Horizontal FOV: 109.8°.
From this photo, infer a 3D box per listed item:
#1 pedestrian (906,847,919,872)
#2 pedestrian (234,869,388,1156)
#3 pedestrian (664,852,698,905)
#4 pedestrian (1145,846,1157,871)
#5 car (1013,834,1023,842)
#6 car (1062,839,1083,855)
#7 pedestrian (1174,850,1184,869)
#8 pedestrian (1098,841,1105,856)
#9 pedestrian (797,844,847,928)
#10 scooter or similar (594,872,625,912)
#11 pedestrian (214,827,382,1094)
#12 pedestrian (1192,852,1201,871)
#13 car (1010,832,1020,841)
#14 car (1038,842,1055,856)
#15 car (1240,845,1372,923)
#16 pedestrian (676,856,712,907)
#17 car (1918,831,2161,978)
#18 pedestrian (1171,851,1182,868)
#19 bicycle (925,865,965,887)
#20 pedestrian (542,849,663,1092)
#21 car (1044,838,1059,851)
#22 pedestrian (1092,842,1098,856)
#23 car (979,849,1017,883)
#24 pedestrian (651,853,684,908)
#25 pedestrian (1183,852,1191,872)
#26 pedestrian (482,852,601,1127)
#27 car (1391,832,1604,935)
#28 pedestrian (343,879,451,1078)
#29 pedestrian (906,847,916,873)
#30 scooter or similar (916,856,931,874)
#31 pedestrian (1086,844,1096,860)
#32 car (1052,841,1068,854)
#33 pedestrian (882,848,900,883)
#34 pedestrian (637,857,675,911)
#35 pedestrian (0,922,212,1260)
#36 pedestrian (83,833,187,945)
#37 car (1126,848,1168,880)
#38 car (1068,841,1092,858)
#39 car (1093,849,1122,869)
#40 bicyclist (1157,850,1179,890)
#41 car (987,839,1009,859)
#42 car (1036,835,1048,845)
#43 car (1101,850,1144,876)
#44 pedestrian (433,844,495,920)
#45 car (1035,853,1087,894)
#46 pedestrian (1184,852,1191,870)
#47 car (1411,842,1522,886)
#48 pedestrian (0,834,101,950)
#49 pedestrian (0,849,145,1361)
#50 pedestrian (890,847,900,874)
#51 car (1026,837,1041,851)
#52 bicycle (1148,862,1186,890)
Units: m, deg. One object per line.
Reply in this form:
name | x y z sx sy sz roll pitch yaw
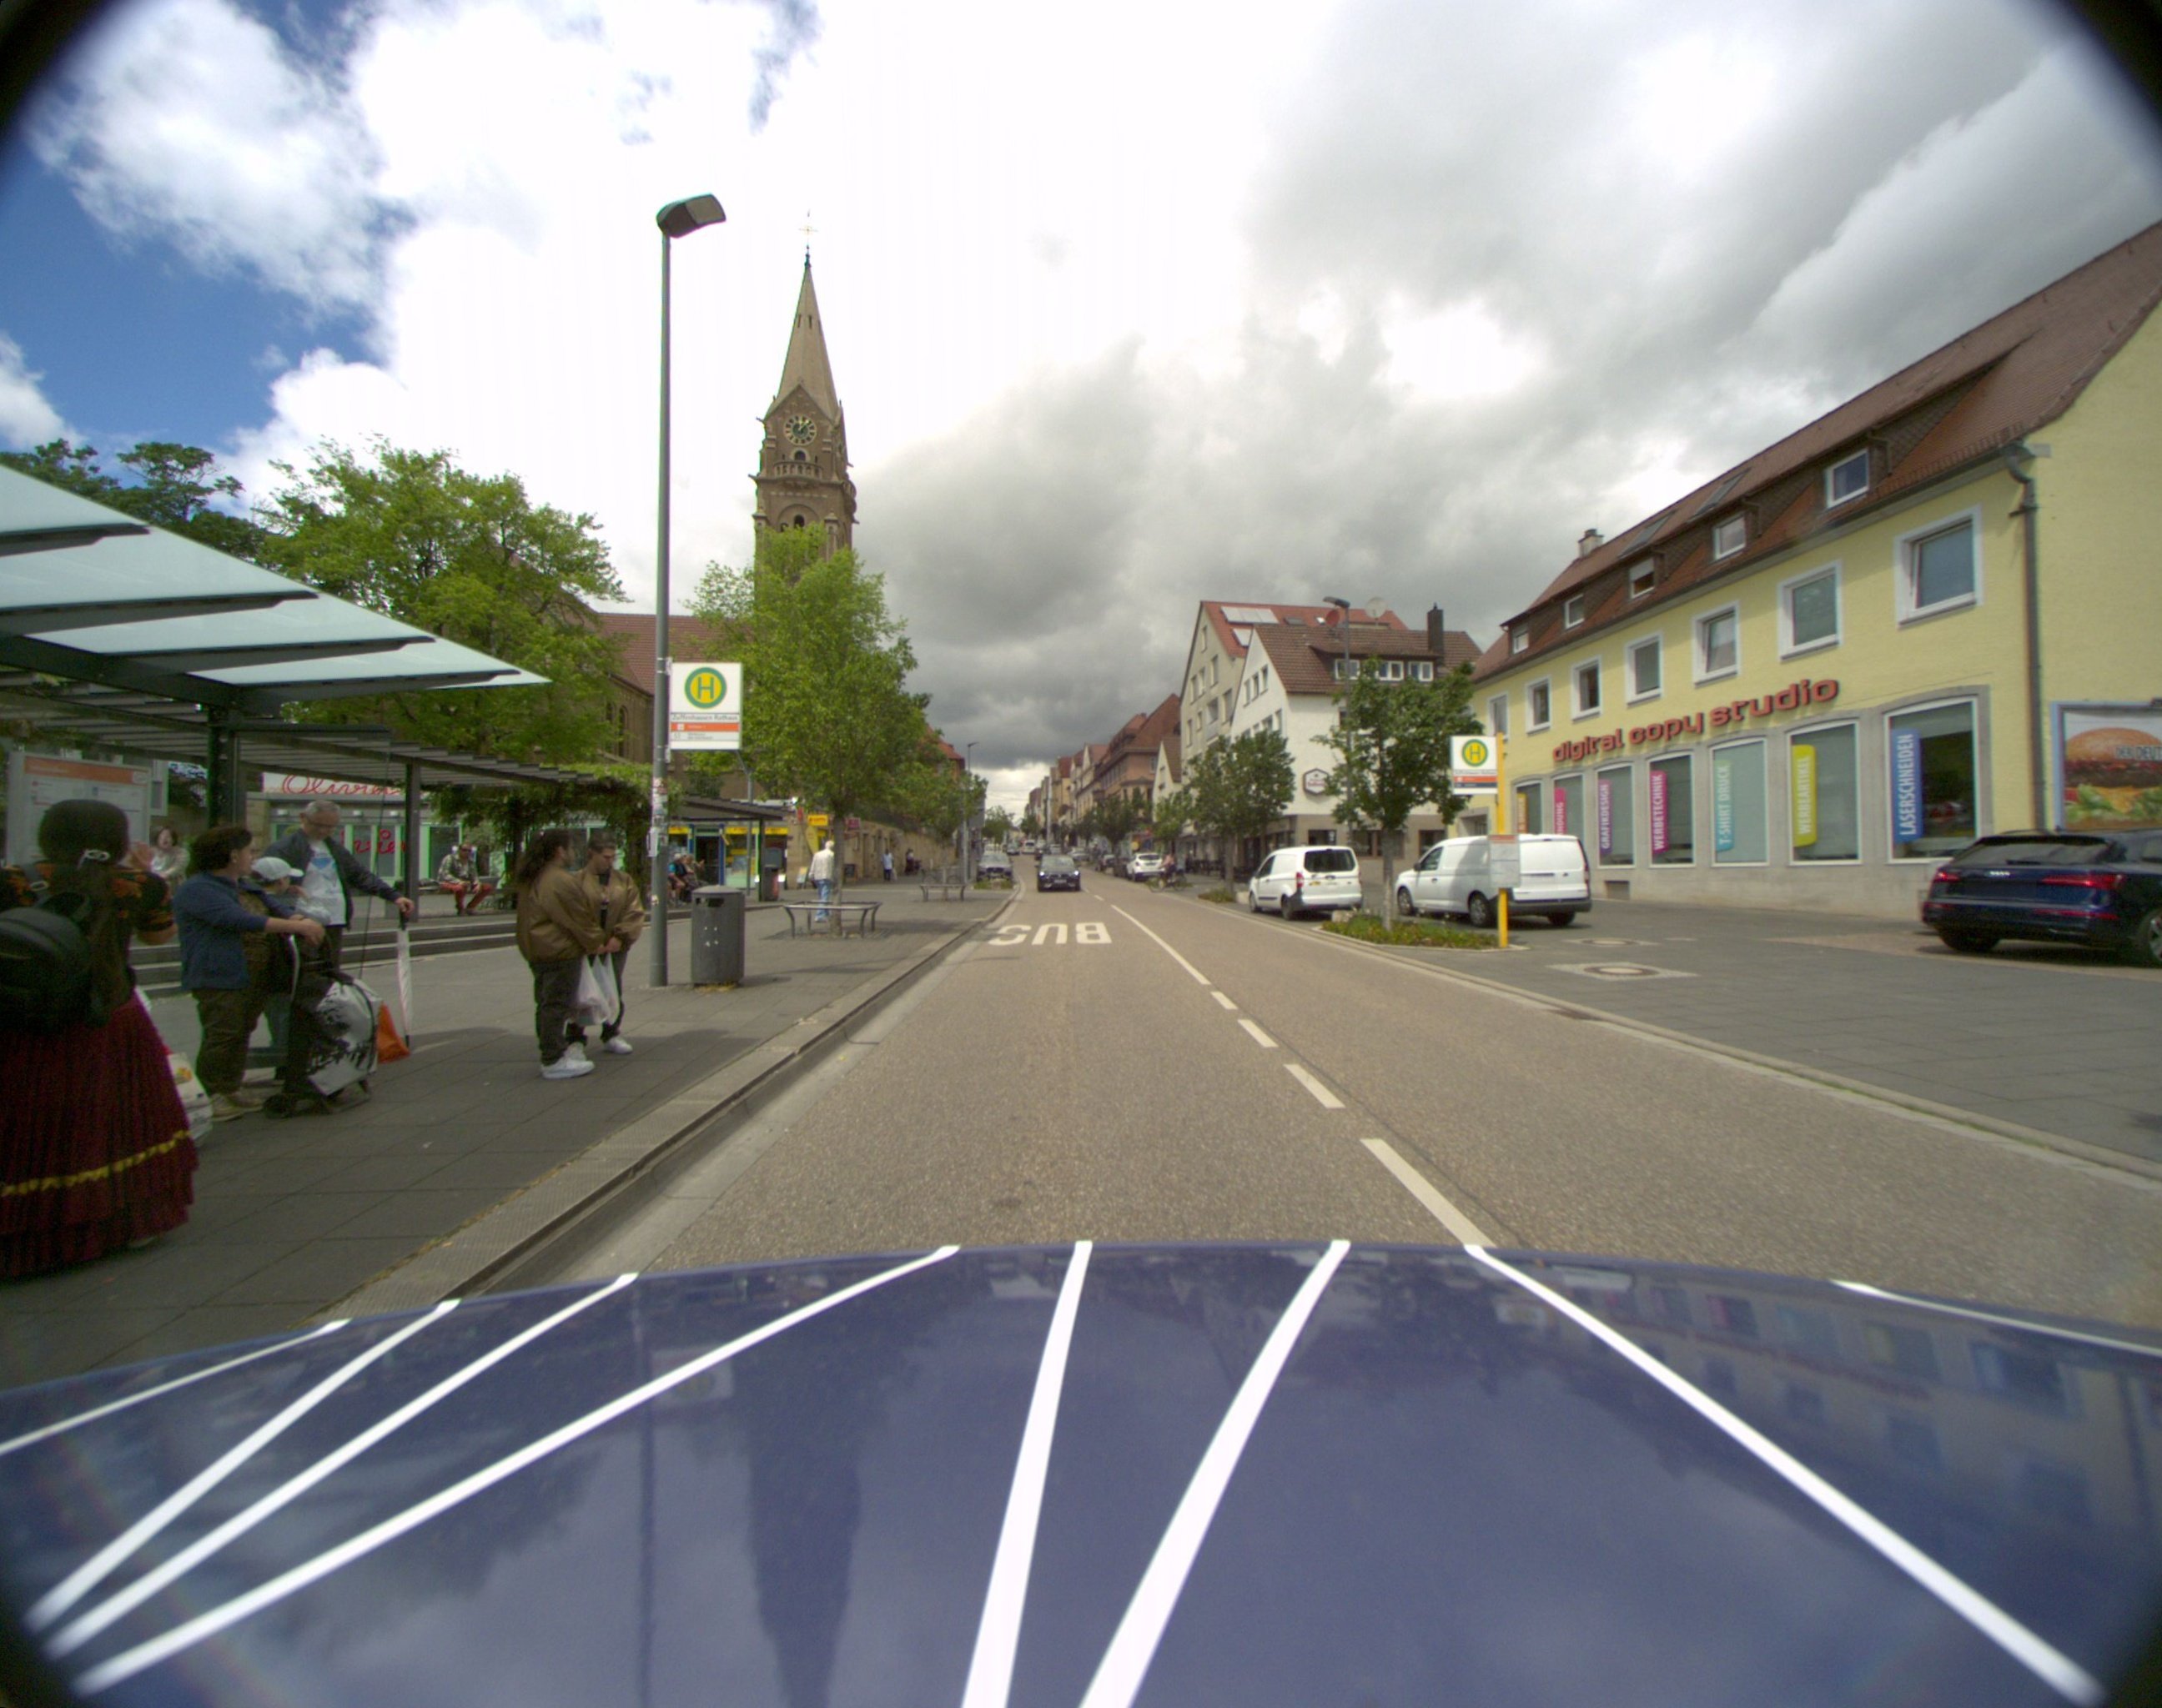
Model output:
pedestrian | -10.402 0.354 46.917 0.590 1.515 0.584 0 1 3
pedestrian | -4.083 0.808 4.051 0.378 1.434 0.415 2 1 -8
pedestrian | -10.098 0.616 19.195 0.496 1.312 0.575 0 -2 2
pedestrian | 4.934 0.304 53.279 0.662 1.751 0.777 -1 3 -9
car | -12.173 -3.107 146.381 1.687 1.492 4.149 0 2 -7
car | -0.965 -0.792 83.033 1.669 1.518 3.959 -2 2 -9
pedestrian | 6.680 0.389 51.795 0.551 1.260 0.598 -1 2 -7
pedestrian | 2.120 -0.594 79.168 0.615 1.573 0.641 -1 3 -9
pedestrian | -5.299 0.640 15.576 0.686 1.672 0.715 0 1 9
scooter or similar | -10.517 0.844 16.963 0.248 0.888 0.508 -1 -2 29
pedestrian | -5.163 0.671 5.041 0.512 1.670 0.576 0 1 -2
pedestrian | 7.675 0.520 50.523 0.428 1.242 0.566 -1 1 -7
car | -13.794 -3.653 159.212 1.831 1.680 3.855 0 2 -8
car | -3.746 -0.556 82.376 1.611 1.380 3.626 1 1 -5
car | 5.447 0.653 19.008 1.661 1.662 4.348 -2 0 -5
pedestrian | -10.118 0.720 19.878 0.617 1.312 0.586 0 -2 2
car | 12.702 0.519 9.107 3.637 1.549 1.668 -1 1 -3
pedestrian | 6.885 0.399 54.876 0.597 1.240 0.598 -1 2 -7
bicycle | -6.132 0.991 34.316 1.733 0.990 0.345 1 1 -10
pedestrian | -3.230 0.739 5.143 0.513 1.540 0.488 1 1 25
car | -4.009 -1.364 104.097 1.733 1.670 3.988 -1 2 -7
pedestrian | 1.486 -0.532 79.240 0.497 1.469 0.528 -1 3 -9
car | -4.601 0.602 41.773 1.934 1.714 4.570 1 1 -7
pedestrian | -10.115 0.645 18.604 0.499 1.312 0.525 0 -2 3
pedestrian | 7.018 0.521 50.293 0.422 1.292 0.454 -1 1 -7
pedestrian | -3.285 0.763 4.625 0.542 1.540 0.487 1 1 43
car | 8.482 0.523 16.014 1.761 1.803 4.474 -2 1 -4
pedestrian | -4.664 0.828 5.195 0.390 1.298 0.355 2 1 0
pedestrian | -10.677 0.387 47.648 0.474 1.636 0.506 1 2 5
scooter or similar | -9.887 0.703 47.667 0.813 1.066 0.560 1 2 5
pedestrian | 1.089 -0.231 81.528 0.873 1.657 0.905 -1 3 -9
car | -2.701 -0.835 96.031 1.733 1.423 3.499 -1 2 -7
pedestrian | -9.422 0.561 37.663 0.763 1.720 0.596 1 1 -21
pedestrian | -10.053 0.718 17.992 0.569 1.254 0.542 0 -2 3
pedestrian | -4.134 0.913 3.137 0.378 1.204 0.633 2 0 -7
pedestrian | -11.288 0.400 9.072 0.769 1.262 0.678 -1 0 33
car | 3.702 0.511 43.245 1.670 1.637 4.131 -2 1 -4
car | -0.120 -0.455 75.756 1.731 1.565 4.450 -1 2 -9
car | 2.034 0.367 59.192 1.662 1.384 4.440 -1 2 -6
bicyclist | 3.686 0.665 32.189 0.779 1.685 0.509 0 1 -25
car | -8.311 -0.538 76.333 1.890 1.837 5.027 1 2 -2
car | -6.181 -2.267 121.395 1.691 1.516 3.525 0 2 -7
car | 2.648 0.551 49.180 1.845 1.443 4.510 -2 2 -9
pedestrian | -10.805 0.490 13.317 0.625 1.300 0.546 1 0 4
car | -0.942 0.828 33.561 1.895 1.516 3.731 -2 2 -7
pedestrian | 7.291 0.463 51.985 0.396 1.242 0.499 -1 1 -7
car | 15.276 0.386 30.216 3.538 1.641 1.731 -1 0 -5
pedestrian | -11.362 0.404 8.303 0.568 1.220 0.566 -1 0 8
pedestrian | -3.514 0.762 2.447 0.502 1.557 0.496 0 1 -34
pedestrian | -11.237 0.392 45.943 0.474 1.636 0.506 1 2 5
car | -6.476 -1.323 103.132 1.752 1.792 4.208 1 1 -6
bicycle | 3.657 0.937 32.187 1.656 1.082 0.412 -3 4 -29
